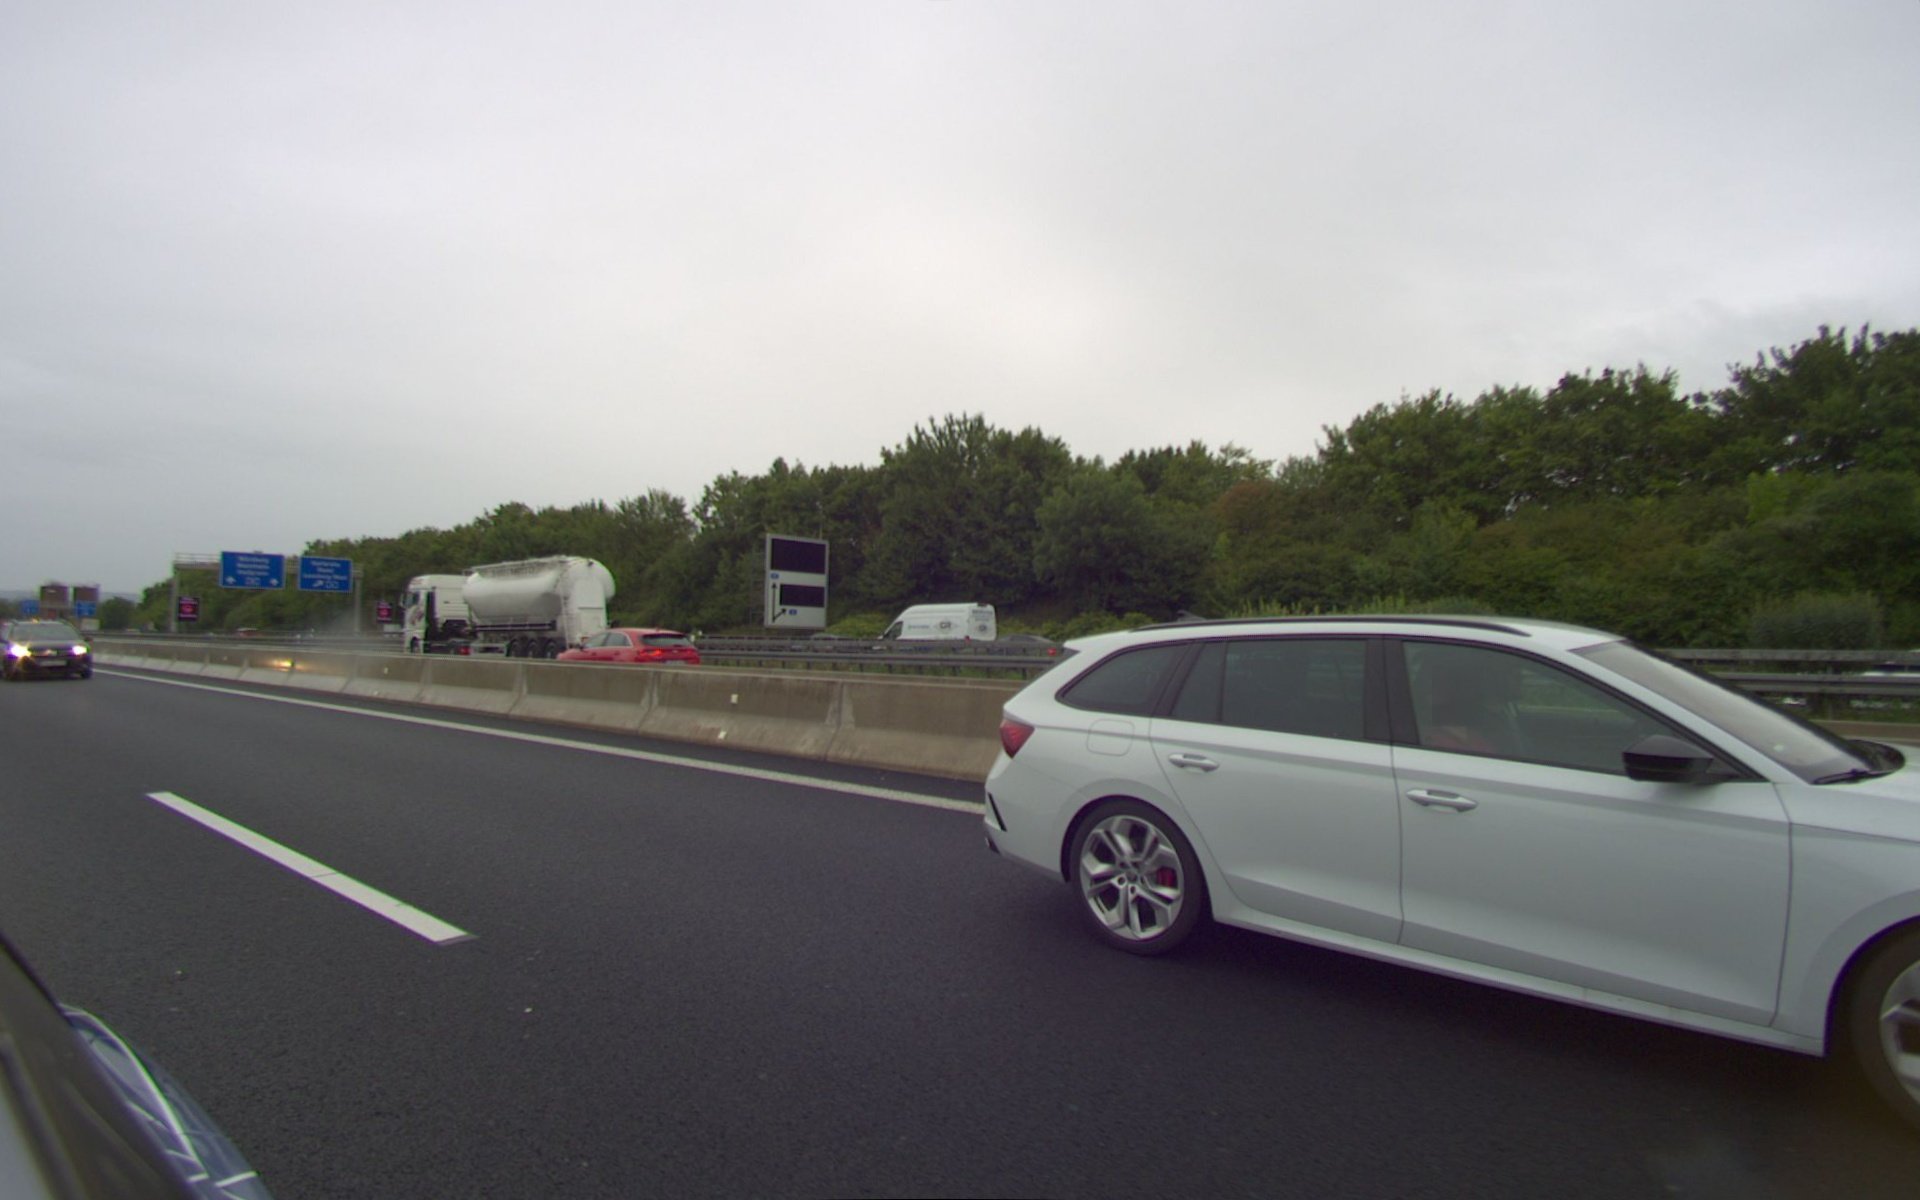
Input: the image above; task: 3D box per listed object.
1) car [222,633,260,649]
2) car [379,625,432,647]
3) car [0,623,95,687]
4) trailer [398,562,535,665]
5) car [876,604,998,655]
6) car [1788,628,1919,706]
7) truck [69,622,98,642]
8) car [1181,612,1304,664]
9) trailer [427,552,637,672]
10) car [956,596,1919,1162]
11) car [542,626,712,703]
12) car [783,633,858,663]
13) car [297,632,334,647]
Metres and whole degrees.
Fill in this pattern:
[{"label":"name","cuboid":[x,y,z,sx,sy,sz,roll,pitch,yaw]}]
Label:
[{"label":"car","cuboid":[-68.960,3.882,97.043,4.562,1.467,1.801,-1,-1,39]},{"label":"car","cuboid":[-38.583,2.508,70.408,4.254,1.467,1.800,-1,-1,40]},{"label":"car","cuboid":[-24.219,1.374,26.522,4.564,1.500,1.703,-1,-1,41]},{"label":"trailer","cuboid":[-19.480,0.535,39.820,6.490,3.744,2.608,-1,-1,42]},{"label":"car","cuboid":[-1.032,1.203,42.345,5.297,2.029,1.854,-1,-1,41]},{"label":"car","cuboid":[19.549,1.344,20.702,3.998,1.519,1.686,-1,-1,41]},{"label":"truck","cuboid":[-175.132,6.341,202.135,9.630,3.908,3.042,-1,-1,41]},{"label":"car","cuboid":[10.295,1.353,36.997,3.994,1.783,1.687,-1,-1,38]},{"label":"trailer","cuboid":[-15.607,0.467,36.275,10.808,3.765,2.608,-1,-1,42]},{"label":"car","cuboid":[2.341,0.748,3.988,4.777,1.467,1.799,-1,-1,42]},{"label":"car","cuboid":[-7.803,1.426,23.510,4.354,1.592,1.789,-1,-1,41]},{"label":"car","cuboid":[-7.297,2.459,52.822,3.998,1.467,1.658,-1,-1,41]},{"label":"car","cuboid":[-66.738,4.058,104.755,4.773,1.467,1.800,-1,-1,40]}]
